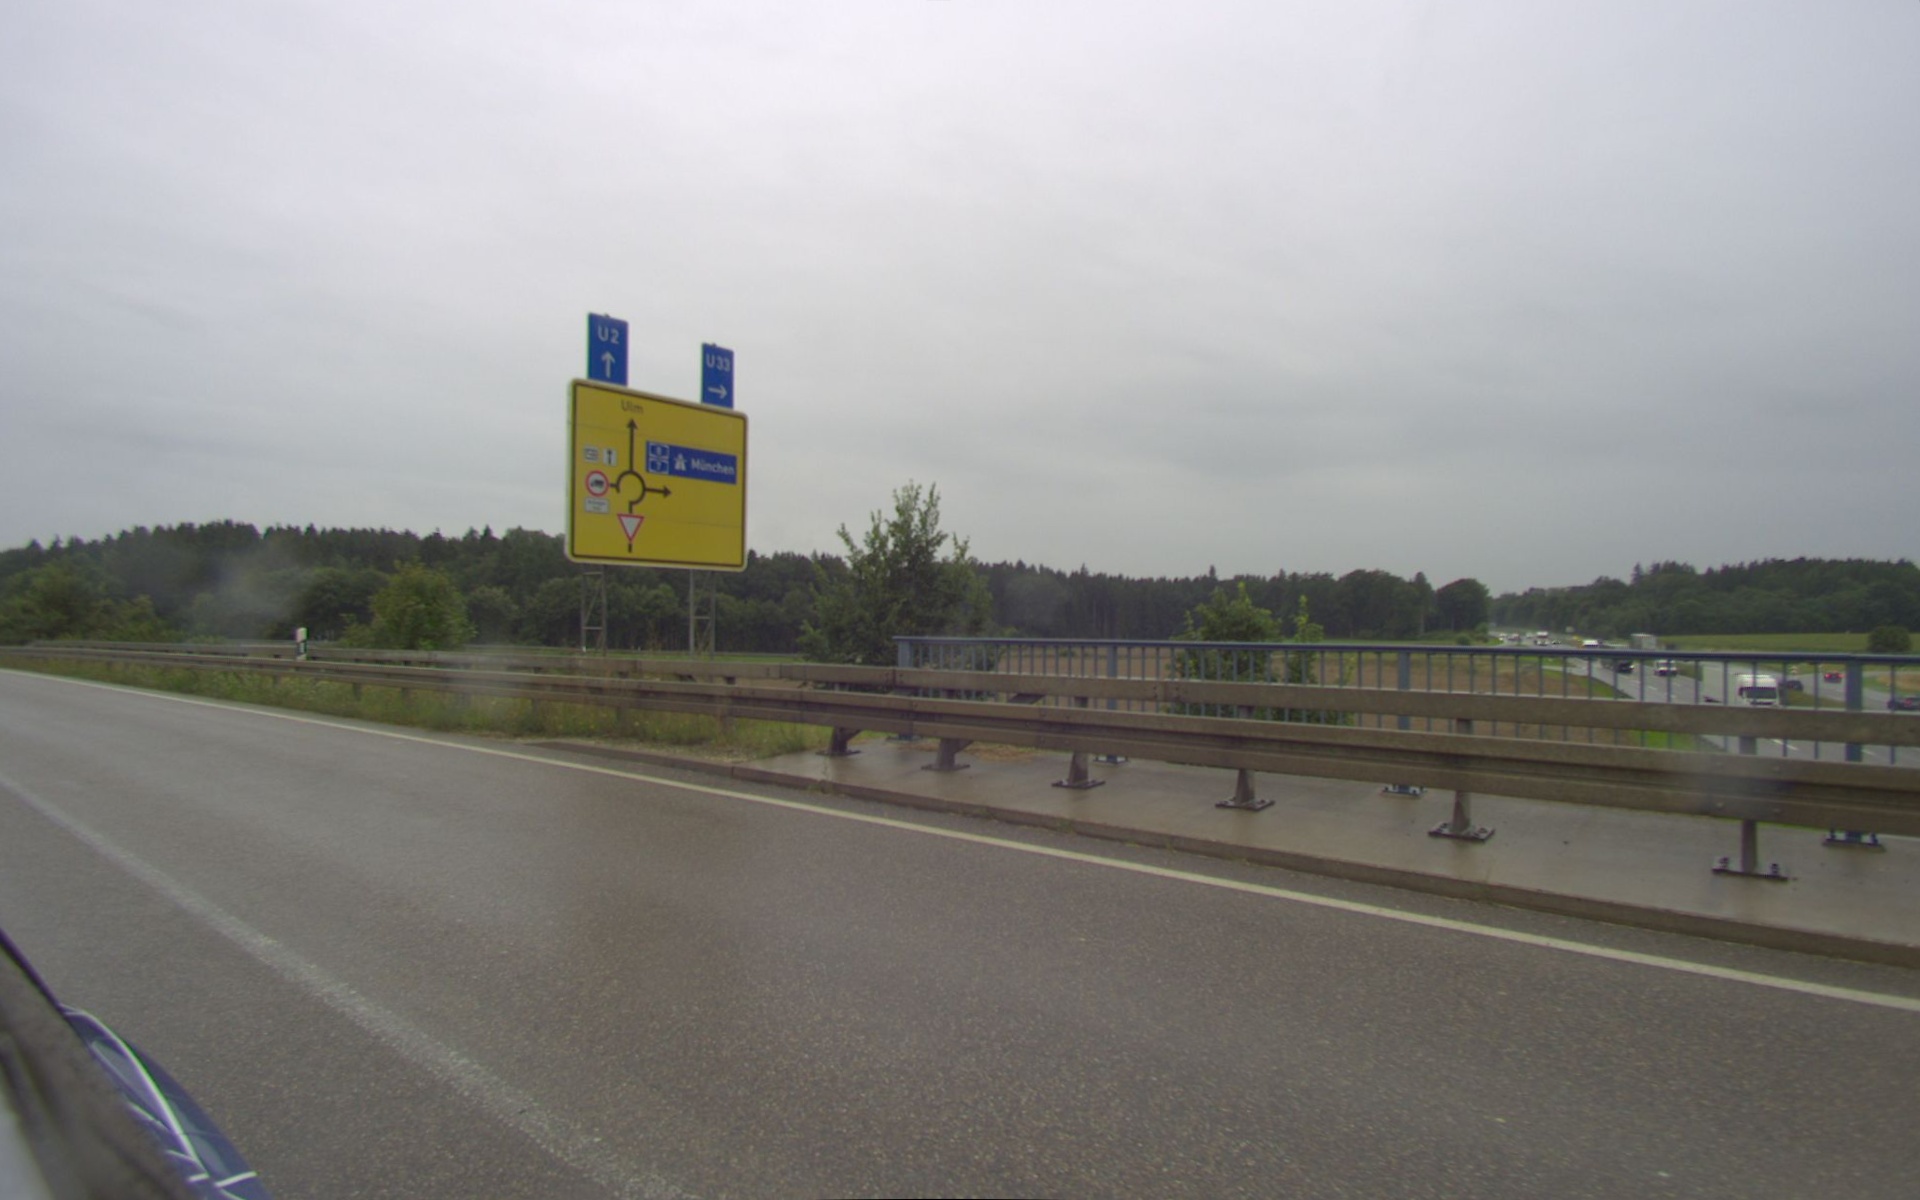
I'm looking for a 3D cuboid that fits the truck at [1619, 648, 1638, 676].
[{"bbox_3d":[107.313,9.876,162.473,2.233,3.727,9.744,-2,1,32],"label":"truck"}]

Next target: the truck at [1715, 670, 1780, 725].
[{"bbox_3d":[68.966,8.403,88.850,2.773,3.899,10.541,0,0,28],"label":"truck"}]
